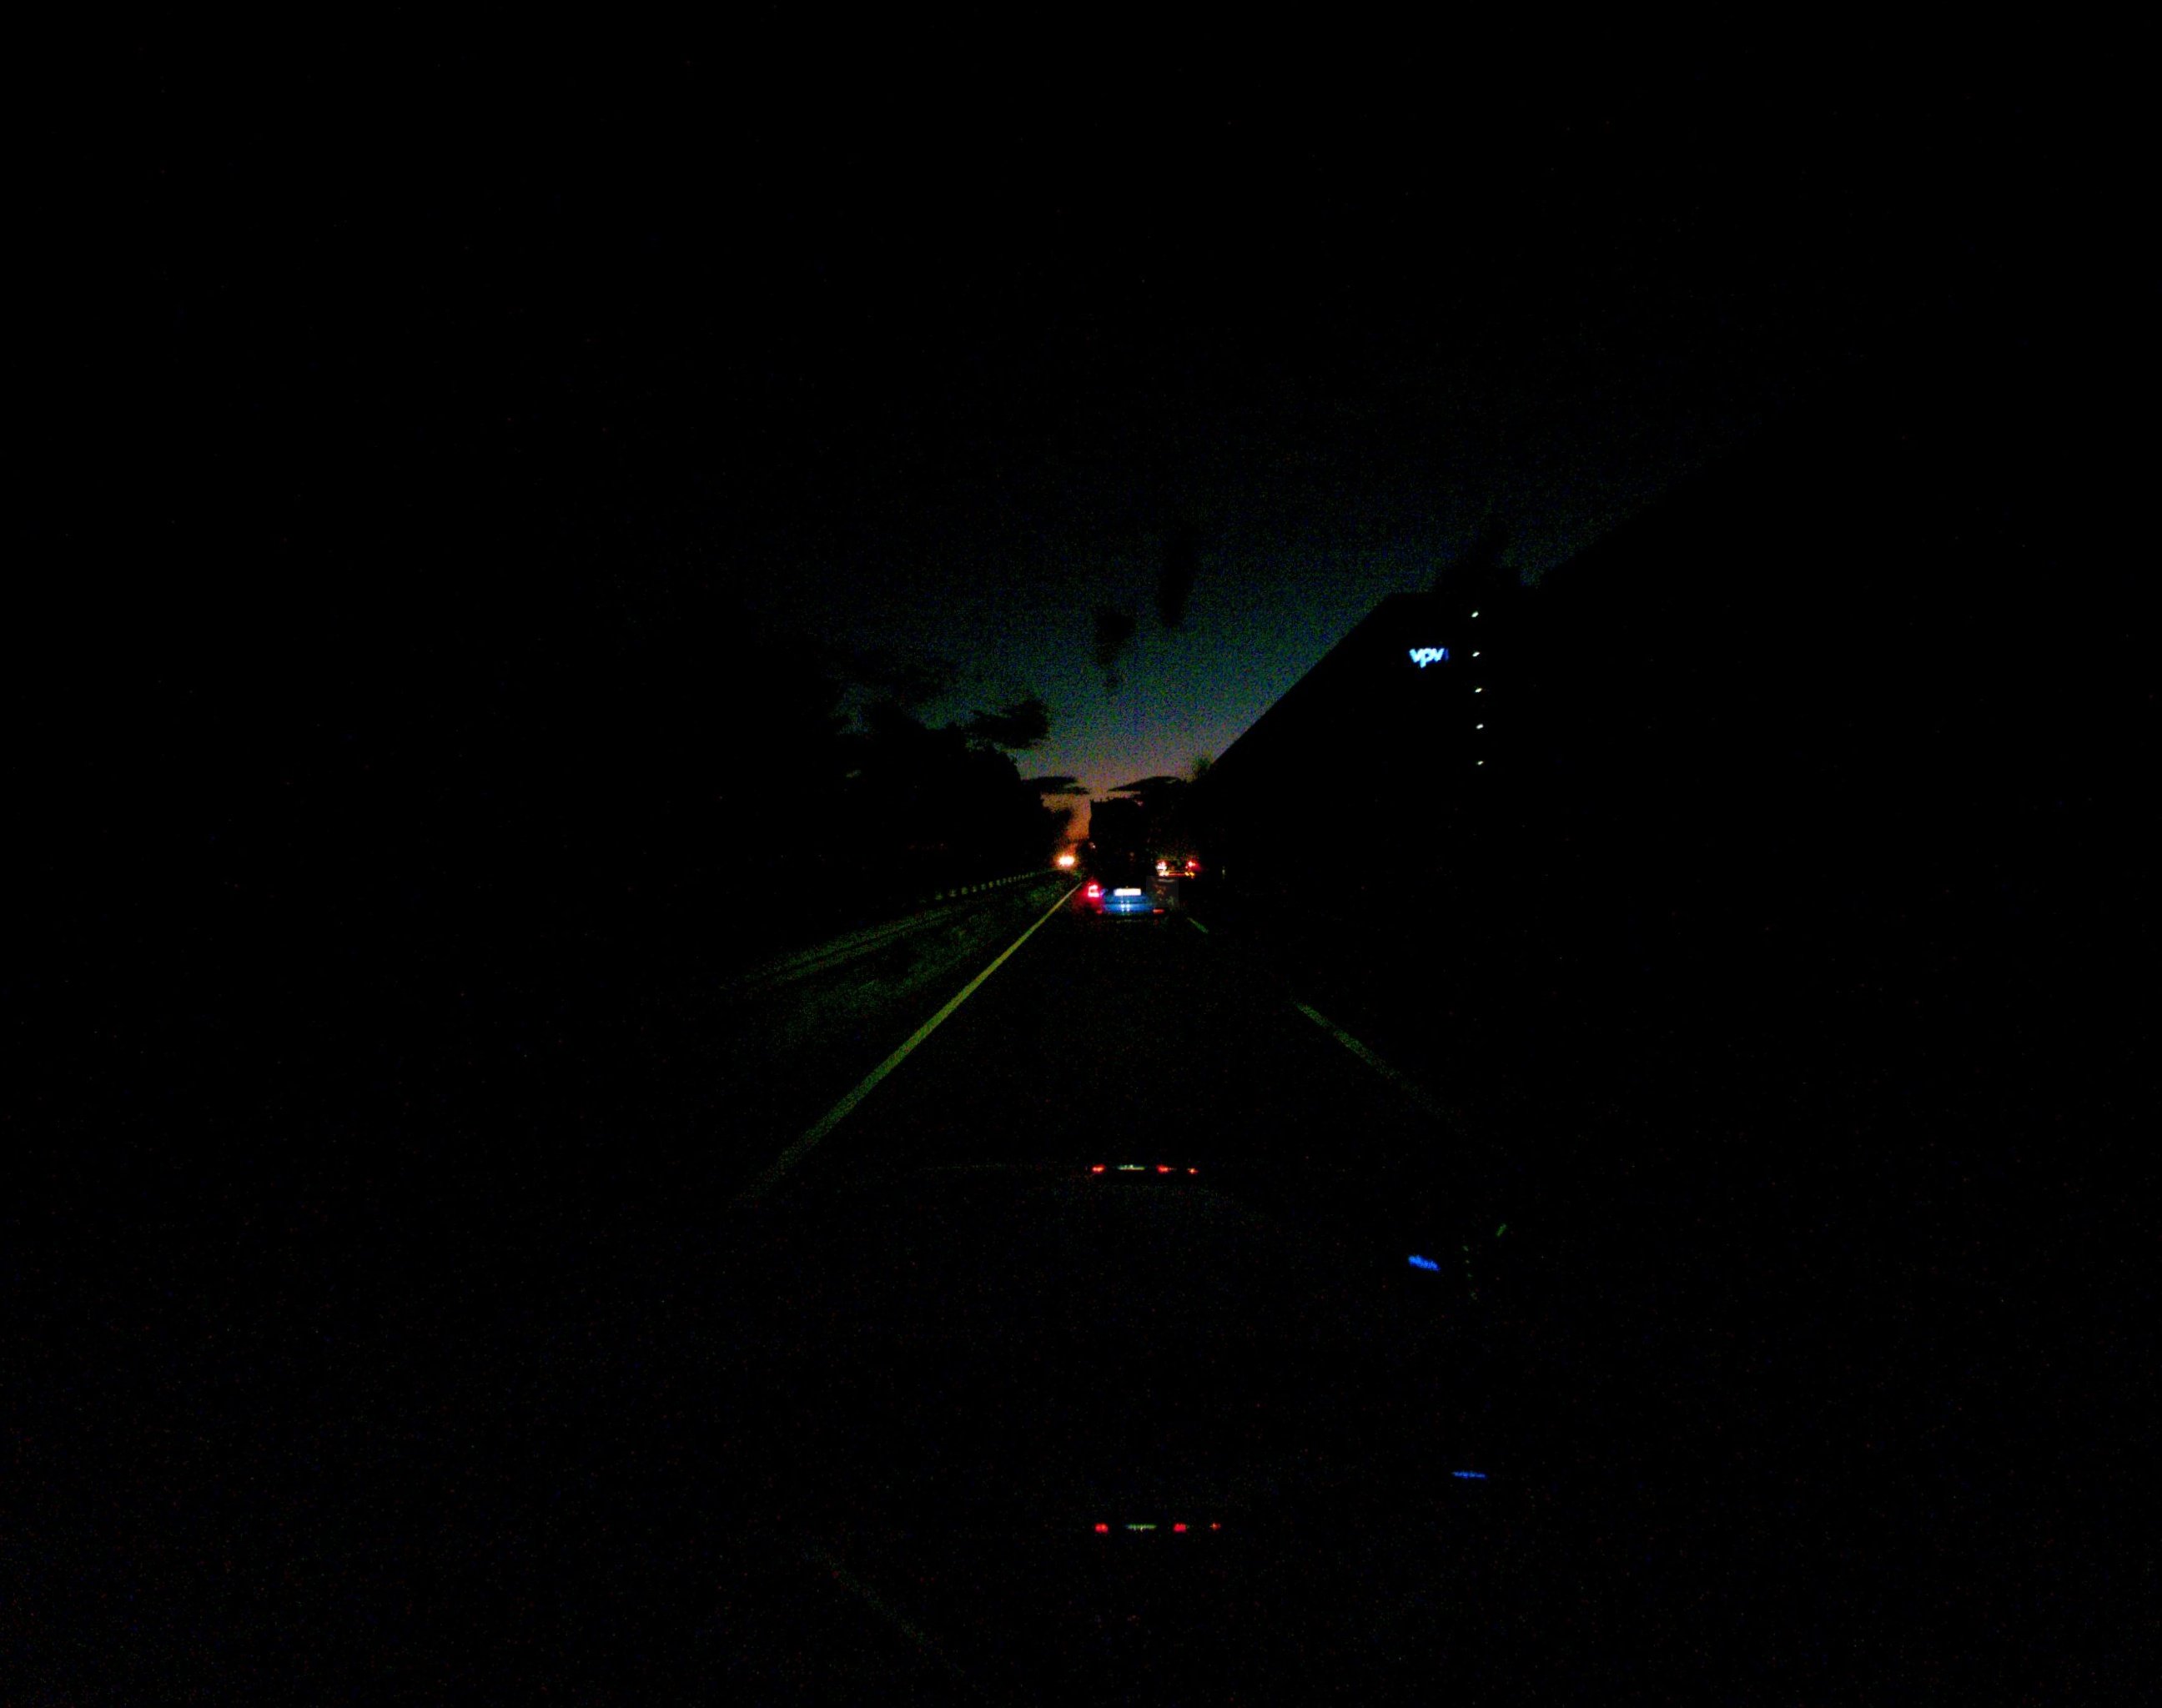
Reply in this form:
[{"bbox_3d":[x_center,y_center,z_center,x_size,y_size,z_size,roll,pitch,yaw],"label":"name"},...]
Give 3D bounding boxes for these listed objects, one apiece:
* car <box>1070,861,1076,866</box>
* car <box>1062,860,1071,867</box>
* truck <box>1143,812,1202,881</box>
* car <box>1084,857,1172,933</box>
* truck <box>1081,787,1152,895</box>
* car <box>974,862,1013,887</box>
[{"bbox_3d":[-2.425,2.820,241.510,1.611,1.507,3.870,0,-1,2],"label":"car"},{"bbox_3d":[-3.300,2.177,185.541,1.676,1.587,4.168,0,0,2],"label":"car"},{"bbox_3d":[5.926,-0.387,54.701,2.872,4.106,12.687,0,-1,2],"label":"truck"},{"bbox_3d":[0.978,0.819,17.847,1.689,1.452,3.915,0,-1,2],"label":"car"},{"bbox_3d":[1.550,-0.445,37.741,2.677,4.106,13.145,0,-1,2],"label":"truck"},{"bbox_3d":[-5.168,1.212,48.557,1.713,1.407,4.576,0,-1,2],"label":"car"}]
